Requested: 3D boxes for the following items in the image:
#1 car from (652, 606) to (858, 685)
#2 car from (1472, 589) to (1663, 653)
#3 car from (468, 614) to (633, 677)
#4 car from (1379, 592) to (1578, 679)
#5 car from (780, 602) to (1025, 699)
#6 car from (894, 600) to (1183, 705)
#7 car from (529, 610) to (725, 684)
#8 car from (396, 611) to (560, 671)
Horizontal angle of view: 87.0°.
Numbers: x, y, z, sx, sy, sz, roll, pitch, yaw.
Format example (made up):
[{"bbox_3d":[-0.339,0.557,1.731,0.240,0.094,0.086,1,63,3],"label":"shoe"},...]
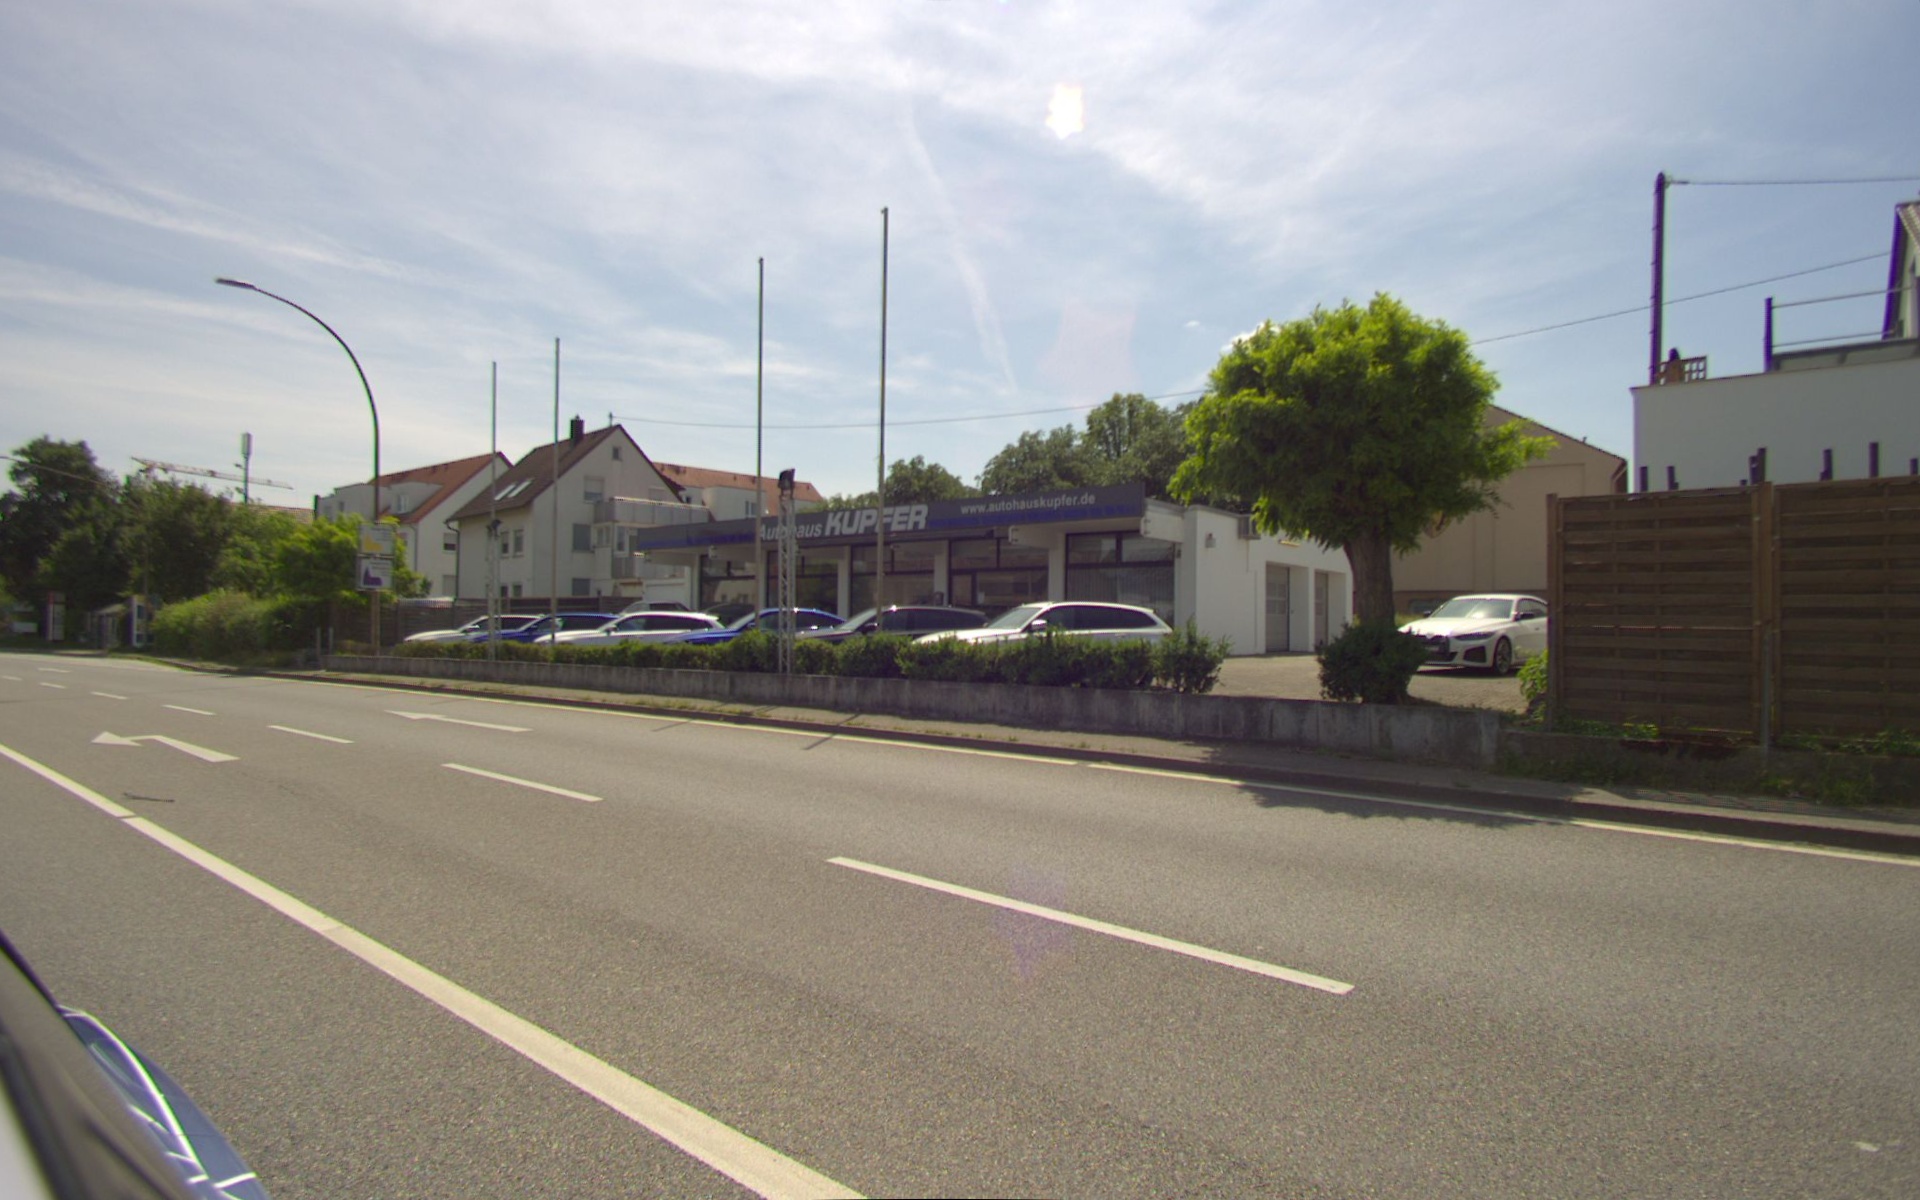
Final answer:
[{"bbox_3d":[-4.355,0.901,21.456,3.931,1.453,1.860,-1,0,-24],"label":"car"},{"bbox_3d":[15.898,0.528,26.600,3.935,1.529,1.948,-1,0,-10],"label":"car"},{"bbox_3d":[-10.902,1.161,27.071,3.931,1.475,2.007,-1,0,-23],"label":"car"},{"bbox_3d":[9.755,0.602,18.947,3.936,1.451,1.886,0,0,-39],"label":"car"},{"bbox_3d":[-1.076,0.881,19.034,4.187,1.557,1.857,-1,0,-26],"label":"car"},{"bbox_3d":[1.273,0.771,16.361,4.264,1.471,1.861,-1,-1,-25],"label":"car"},{"bbox_3d":[-7.903,1.066,24.073,4.239,1.530,2.006,-1,0,-22],"label":"car"},{"bbox_3d":[-14.003,1.162,29.643,4.192,1.541,2.007,-1,0,-23],"label":"car"}]
